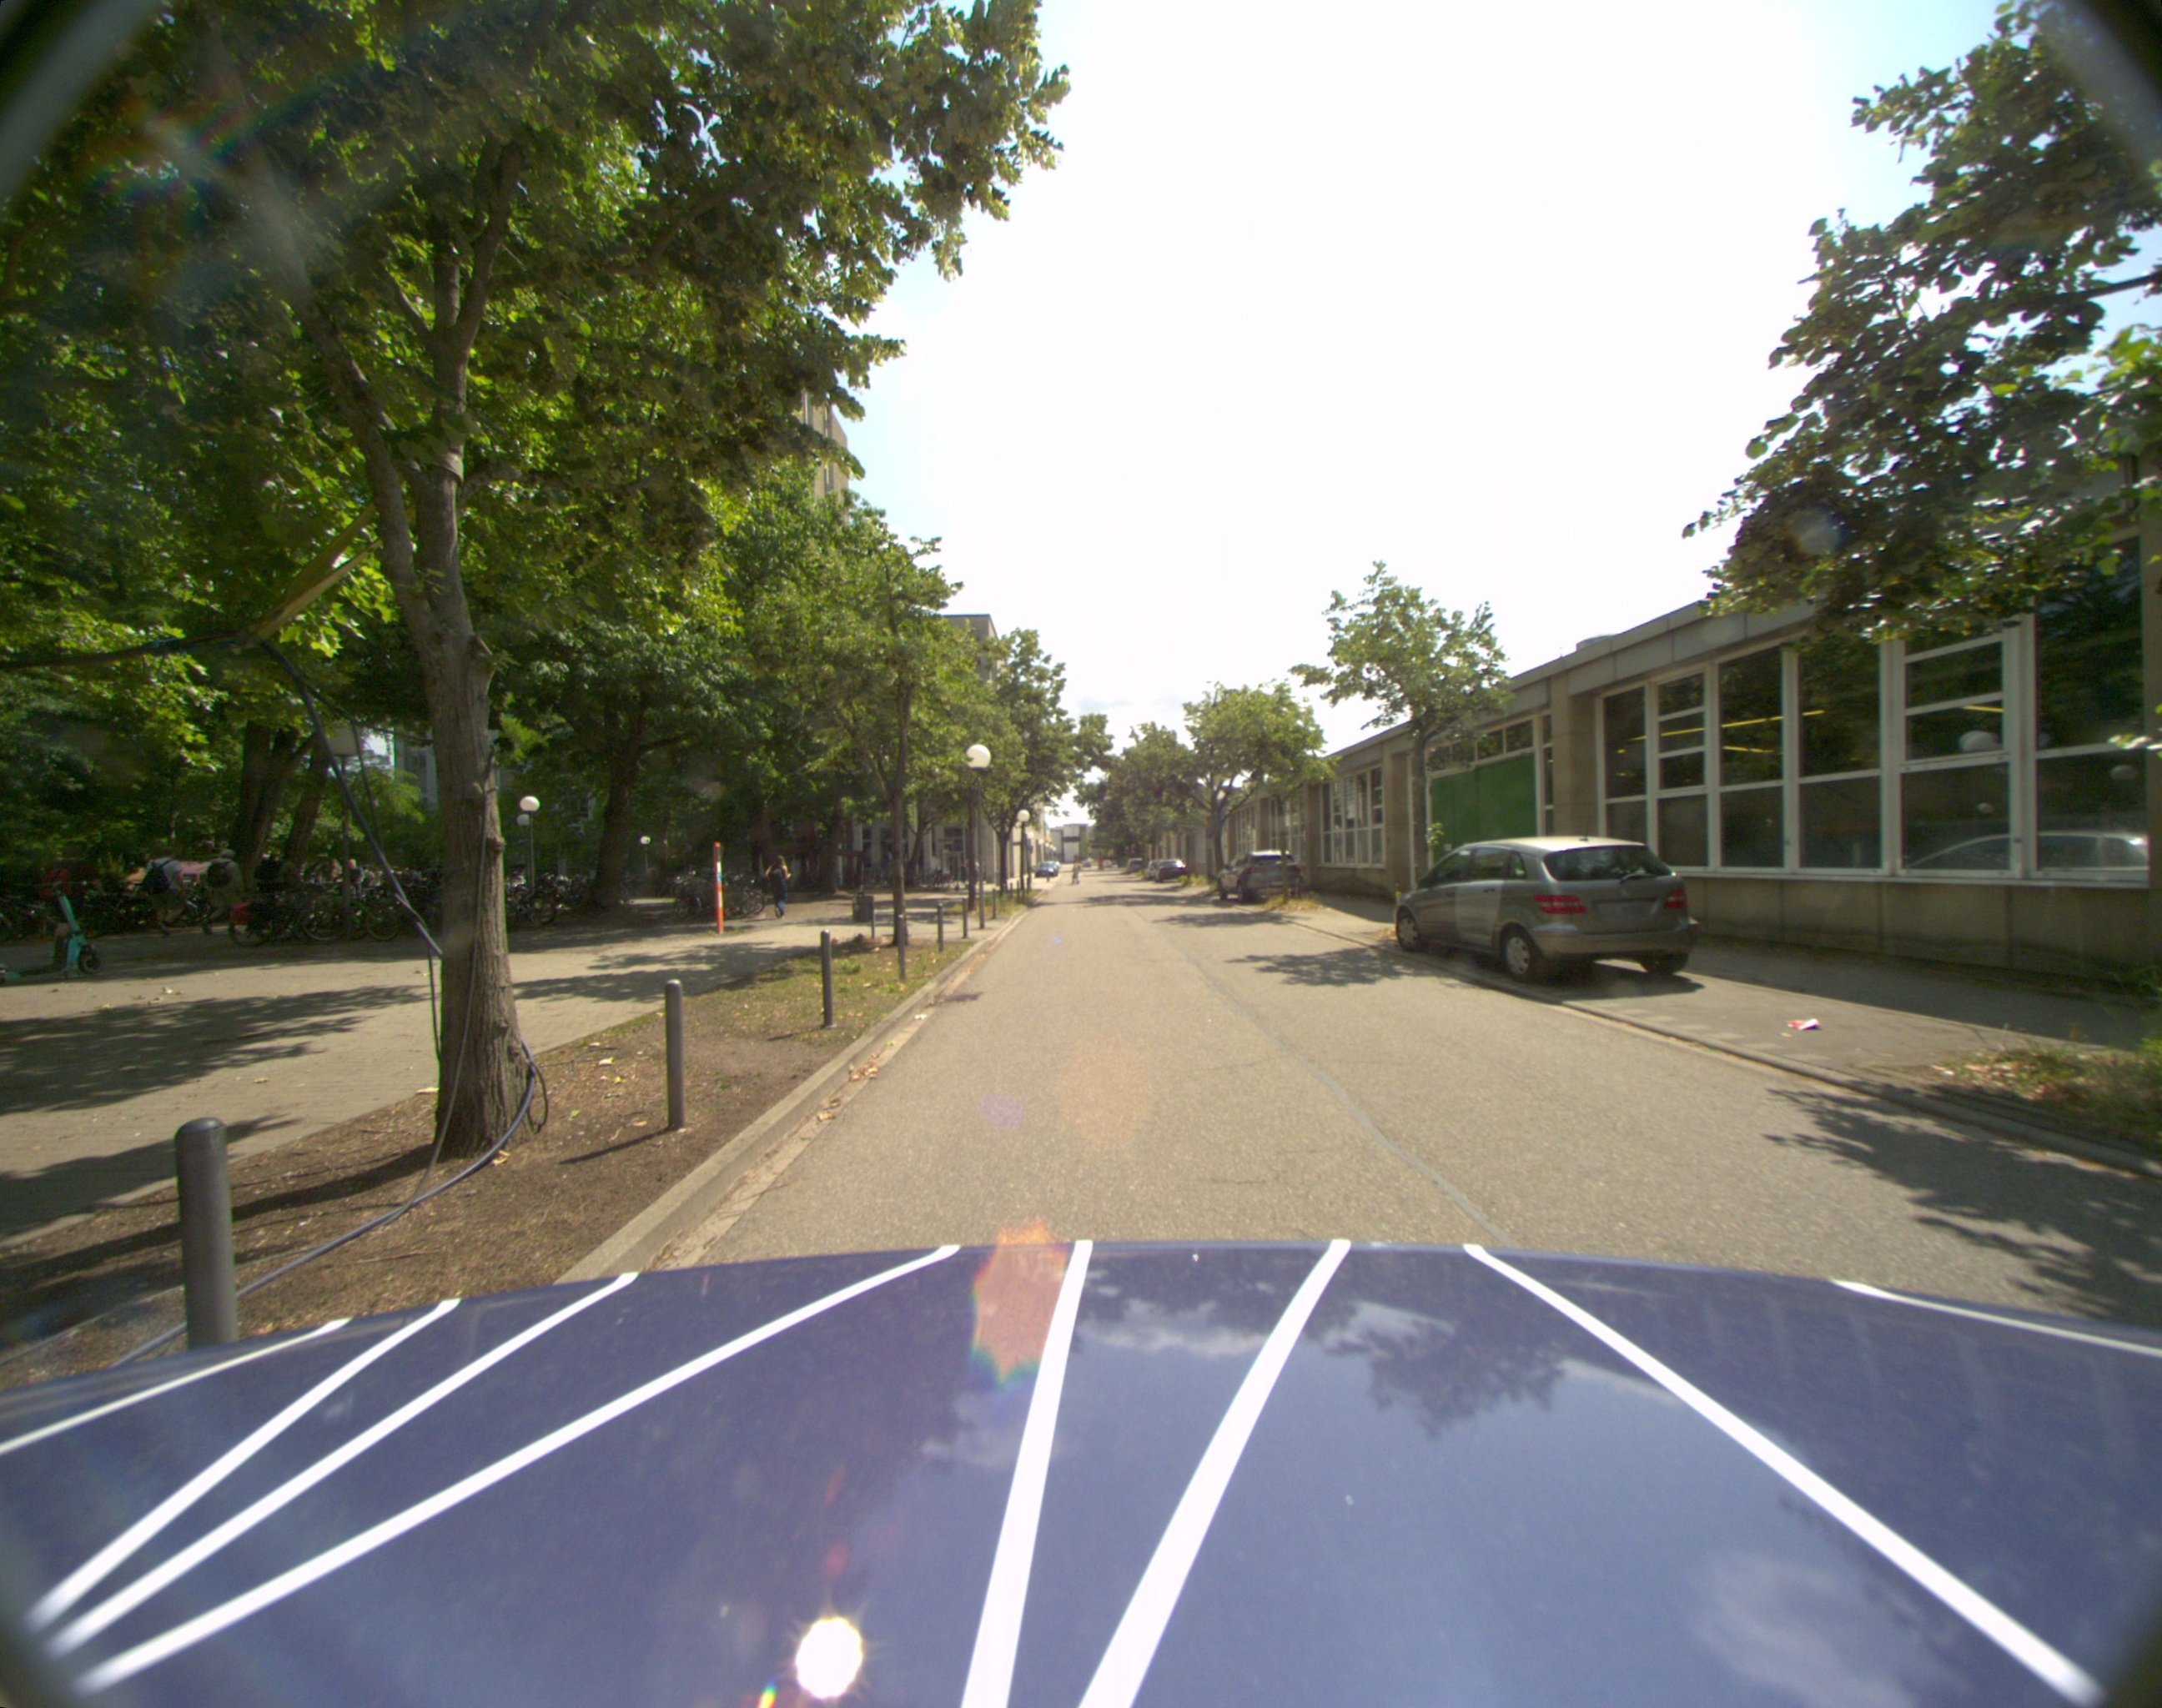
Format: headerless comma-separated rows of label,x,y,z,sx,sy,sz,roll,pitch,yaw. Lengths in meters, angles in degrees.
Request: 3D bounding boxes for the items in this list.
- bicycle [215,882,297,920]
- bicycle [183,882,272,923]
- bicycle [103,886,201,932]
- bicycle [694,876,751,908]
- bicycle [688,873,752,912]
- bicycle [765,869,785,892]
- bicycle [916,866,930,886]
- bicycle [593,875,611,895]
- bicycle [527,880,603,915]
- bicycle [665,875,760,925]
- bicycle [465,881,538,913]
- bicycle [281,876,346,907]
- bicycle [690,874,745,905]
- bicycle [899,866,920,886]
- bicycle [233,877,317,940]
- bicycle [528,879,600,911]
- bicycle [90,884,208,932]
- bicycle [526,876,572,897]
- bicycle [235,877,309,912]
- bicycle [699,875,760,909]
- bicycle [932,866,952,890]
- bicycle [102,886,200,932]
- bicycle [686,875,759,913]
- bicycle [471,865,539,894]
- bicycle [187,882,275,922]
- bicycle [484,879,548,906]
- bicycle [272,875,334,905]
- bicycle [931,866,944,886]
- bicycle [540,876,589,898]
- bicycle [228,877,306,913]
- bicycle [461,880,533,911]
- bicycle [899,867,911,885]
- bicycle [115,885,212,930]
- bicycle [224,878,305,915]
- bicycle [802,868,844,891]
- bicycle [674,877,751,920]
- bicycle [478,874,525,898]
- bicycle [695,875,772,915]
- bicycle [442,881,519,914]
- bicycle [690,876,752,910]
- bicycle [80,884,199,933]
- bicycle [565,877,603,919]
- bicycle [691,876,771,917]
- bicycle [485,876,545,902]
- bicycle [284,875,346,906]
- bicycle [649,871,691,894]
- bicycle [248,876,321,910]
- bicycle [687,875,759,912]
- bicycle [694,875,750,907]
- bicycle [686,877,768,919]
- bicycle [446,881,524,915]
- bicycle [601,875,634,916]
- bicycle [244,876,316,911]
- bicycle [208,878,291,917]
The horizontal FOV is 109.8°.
bicycle,-24.649,1.392,22.730,1.614,1.087,0.347,0,0,-29
bicycle,-24.344,1.380,21.692,1.614,1.087,0.477,0,0,-29
bicycle,-23.243,1.357,19.029,1.613,1.087,0.347,0,0,-19
bicycle,-12.754,1.328,27.072,1.796,1.063,0.425,-1,0,-30
bicycle,-11.360,1.187,23.928,1.742,1.148,0.493,-1,0,-36
bicycle,-15.627,1.350,38.796,0.476,1.103,1.666,-2,1,-37
bicycle,-9.558,1.337,45.978,0.561,1.134,1.490,0,-2,-2
bicycle,-27.127,1.723,43.037,0.353,1.077,1.470,-1,0,-12
bicycle,-16.110,1.343,23.777,0.477,0.973,1.908,0,0,42
bicycle,-9.194,1.136,19.027,2.021,1.160,0.651,-1,0,-12
bicycle,-19.070,1.397,25.037,1.908,0.973,0.377,0,0,-39
bicycle,-28.235,1.379,27.979,1.614,1.087,0.477,0,0,-37
bicycle,-13.446,1.307,28.103,1.796,1.063,0.425,-1,0,-28
bicycle,-10.297,1.324,45.675,0.491,1.134,1.529,0,-2,19
bicycle,-17.450,1.145,16.499,0.532,1.245,1.734,0,0,-20
bicycle,-17.016,1.336,25.029,1.908,0.973,0.477,0,0,-41
bicycle,-22.700,1.302,18.544,1.755,1.087,0.477,0,0,-26
bicycle,-27.379,1.661,39.086,1.907,0.973,0.477,0,0,-38
bicycle,-26.210,1.307,24.635,1.614,1.087,0.347,0,0,-29
bicycle,-11.432,1.229,24.733,1.742,1.046,0.493,-1,0,-36
bicycle,-7.216,1.228,39.464,0.629,1.078,1.684,-3,3,-23
bicycle,-23.255,1.356,19.023,1.613,1.087,0.347,0,0,-19
bicycle,-10.608,1.165,22.520,1.916,1.053,0.325,-1,0,-23
bicycle,-20.470,0.905,27.046,1.907,0.973,0.378,0,0,-30
bicycle,-24.575,1.380,21.995,1.614,1.087,0.477,0,0,-29
bicycle,-21.369,1.453,28.777,1.907,0.973,0.378,0,0,-30
bicycle,-29.748,1.363,29.081,1.614,1.087,0.347,0,0,-37
bicycle,-8.631,1.297,45.727,0.561,1.134,1.489,0,0,-2
bicycle,-24.850,1.561,36.563,1.908,0.973,0.477,0,0,-44
bicycle,-26.036,1.305,24.329,1.614,1.087,0.477,0,0,-29
bicycle,-19.875,1.390,25.880,1.908,0.973,0.477,0,0,-39
bicycle,-10.737,1.351,46.298,0.460,1.079,1.440,0,-2,-2
bicycle,-23.361,1.360,19.369,1.613,1.087,0.347,0,0,-19
bicycle,-25.294,1.310,23.566,1.614,1.087,0.477,0,0,-29
bicycle,-13.436,1.312,39.576,1.928,1.103,0.631,-2,1,-37
bicycle,-9.742,1.167,20.146,1.773,1.076,0.438,-1,0,-12
bicycle,-25.167,1.372,32.989,1.600,0.973,0.403,0,0,-39
bicycle,-9.881,1.150,21.662,1.950,1.076,0.404,-1,0,-12
bicycle,-19.017,1.371,24.097,1.908,0.973,0.377,0,0,-39
bicycle,-11.840,1.272,25.034,1.800,1.022,0.439,-1,0,-32
bicycle,-22.544,1.300,18.232,1.755,1.087,0.477,0,0,-26
bicycle,-14.136,1.225,21.647,0.479,1.076,1.900,0,0,-20
bicycle,-9.645,1.171,20.991,1.950,1.076,0.404,-1,0,-12
bicycle,-22.778,1.396,30.605,1.907,0.973,0.477,0,0,-30
bicycle,-29.037,1.376,28.837,1.614,1.087,0.347,0,0,-37
bicycle,-21.384,1.461,39.526,1.849,1.163,0.412,-1,0,-39
bicycle,-26.781,1.308,25.581,1.614,1.087,0.477,0,0,-29
bicycle,-10.718,1.168,22.810,1.916,1.053,0.325,-1,0,-23
bicycle,-12.972,1.330,27.454,1.796,1.063,0.425,-1,0,-30
bicycle,-9.567,1.180,20.567,1.950,1.076,0.404,-1,0,-12
bicycle,-18.655,1.366,23.826,1.908,0.973,0.477,0,0,-39
bicycle,-13.433,1.177,22.055,0.479,1.076,1.900,0,0,-20
bicycle,-26.608,1.305,25.269,1.614,1.087,0.347,0,0,-29
bicycle,-25.046,1.300,22.917,1.614,1.087,0.477,0,0,-29
